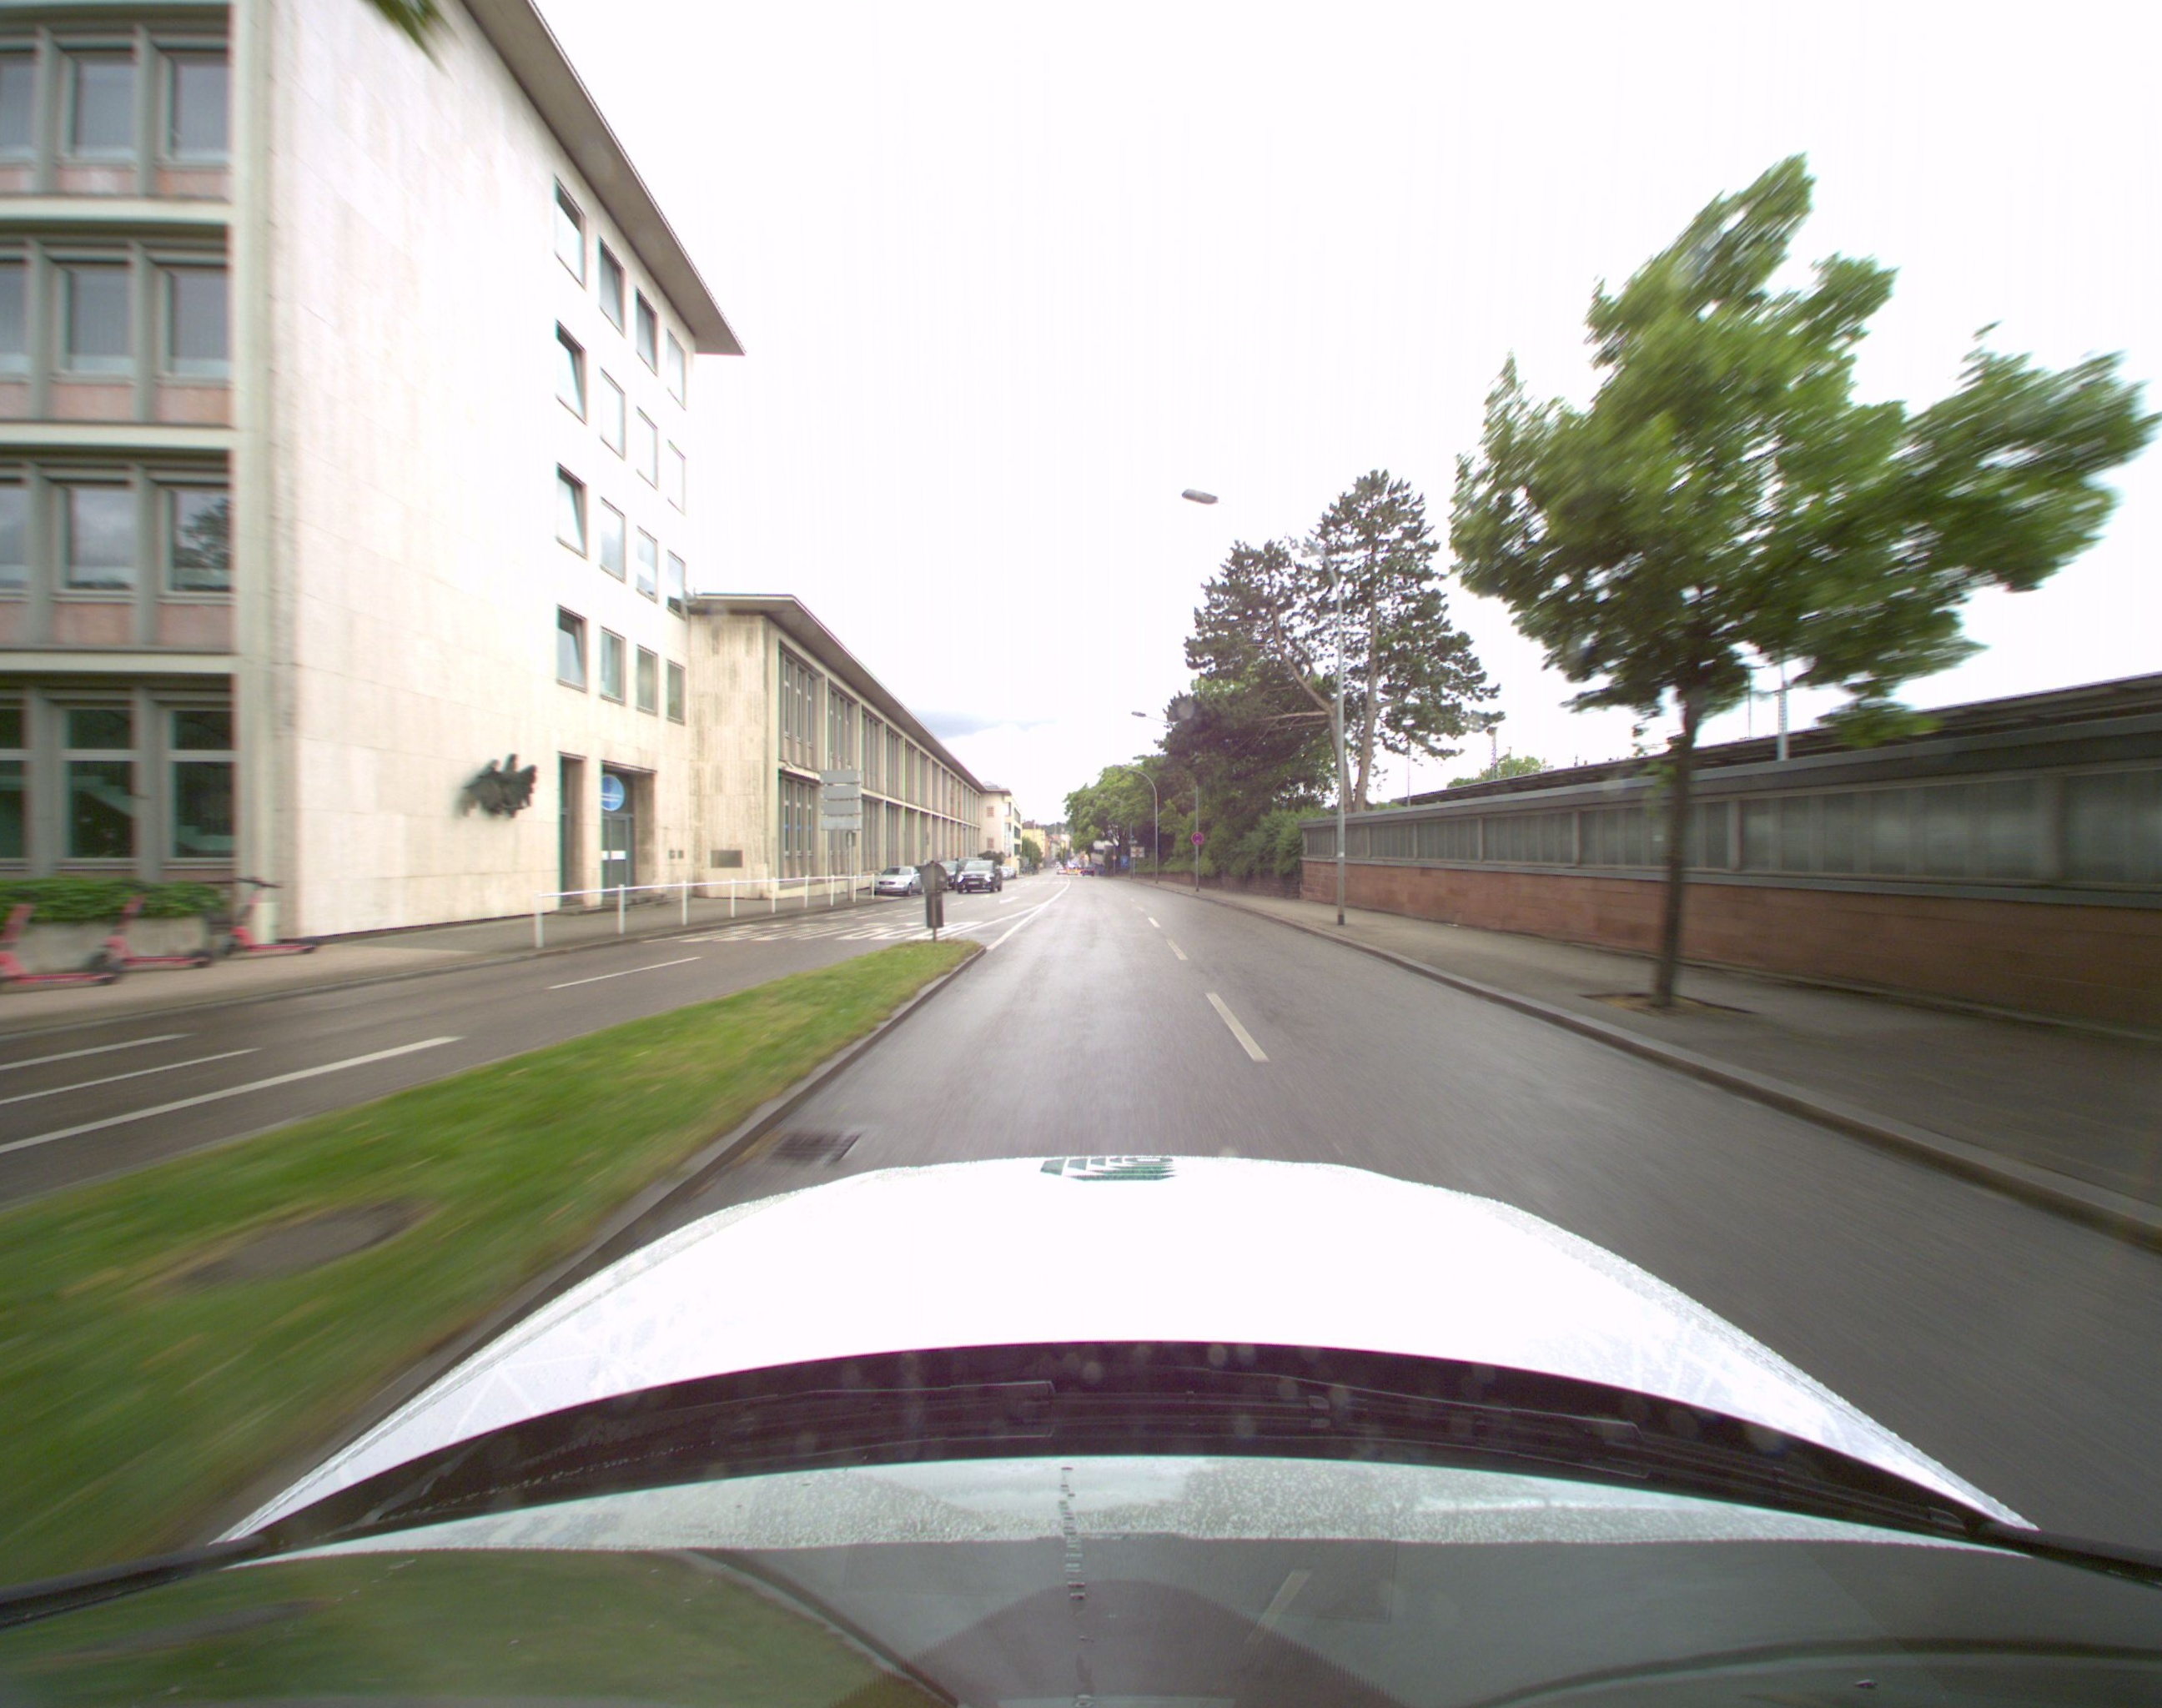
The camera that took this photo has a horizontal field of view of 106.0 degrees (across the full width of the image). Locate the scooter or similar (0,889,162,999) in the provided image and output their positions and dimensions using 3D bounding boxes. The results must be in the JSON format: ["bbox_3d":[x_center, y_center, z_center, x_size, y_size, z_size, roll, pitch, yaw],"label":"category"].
[{"bbox_3d":[-12.385,1.065,9.896,0.601,1.192,1.538,-2,0,35],"label":"scooter or similar"}]

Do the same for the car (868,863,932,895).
[{"bbox_3d":[-7.964,1.081,36.276,1.684,1.297,4.097,0,0,4],"label":"car"}]

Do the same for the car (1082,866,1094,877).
[{"bbox_3d":[1.318,3.196,148.781,2.085,1.910,4.098,-2,0,-1],"label":"car"}]

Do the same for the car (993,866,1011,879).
[{"bbox_3d":[-8.845,2.086,91.862,1.744,1.435,4.481,2,-1,-3],"label":"car"}]

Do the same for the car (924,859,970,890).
[{"bbox_3d":[-7.609,1.141,46.771,1.791,1.675,4.604,0,-1,1],"label":"car"}]

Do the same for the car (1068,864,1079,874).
[{"bbox_3d":[-1.488,3.034,161.462,1.988,1.838,3.998,-2,0,-1],"label":"car"}]

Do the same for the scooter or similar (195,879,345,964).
[{"bbox_3d":[-12.441,0.996,12.537,0.601,1.164,1.538,-2,0,35],"label":"scooter or similar"}]

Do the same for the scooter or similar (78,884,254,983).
[{"bbox_3d":[-12.553,1.042,11.215,0.601,1.192,1.538,-2,0,35],"label":"scooter or similar"}]

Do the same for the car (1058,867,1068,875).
[{"bbox_3d":[-4.306,4.071,197.321,1.991,1.680,3.991,-2,0,-6],"label":"car"}]

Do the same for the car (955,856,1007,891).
[{"bbox_3d":[-5.083,0.955,41.900,1.814,1.660,4.341,-2,0,3],"label":"car"}]

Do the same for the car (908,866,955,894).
[{"bbox_3d":[-7.649,1.310,42.008,1.536,1.353,4.112,0,-1,2],"label":"car"}]

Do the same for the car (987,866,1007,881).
[{"bbox_3d":[-8.910,2.061,86.635,1.674,1.523,3.918,0,-1,-1],"label":"car"}]

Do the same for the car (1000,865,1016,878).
[{"bbox_3d":[-9.210,2.223,102.627,1.743,1.598,4.178,2,-1,-2],"label":"car"}]
